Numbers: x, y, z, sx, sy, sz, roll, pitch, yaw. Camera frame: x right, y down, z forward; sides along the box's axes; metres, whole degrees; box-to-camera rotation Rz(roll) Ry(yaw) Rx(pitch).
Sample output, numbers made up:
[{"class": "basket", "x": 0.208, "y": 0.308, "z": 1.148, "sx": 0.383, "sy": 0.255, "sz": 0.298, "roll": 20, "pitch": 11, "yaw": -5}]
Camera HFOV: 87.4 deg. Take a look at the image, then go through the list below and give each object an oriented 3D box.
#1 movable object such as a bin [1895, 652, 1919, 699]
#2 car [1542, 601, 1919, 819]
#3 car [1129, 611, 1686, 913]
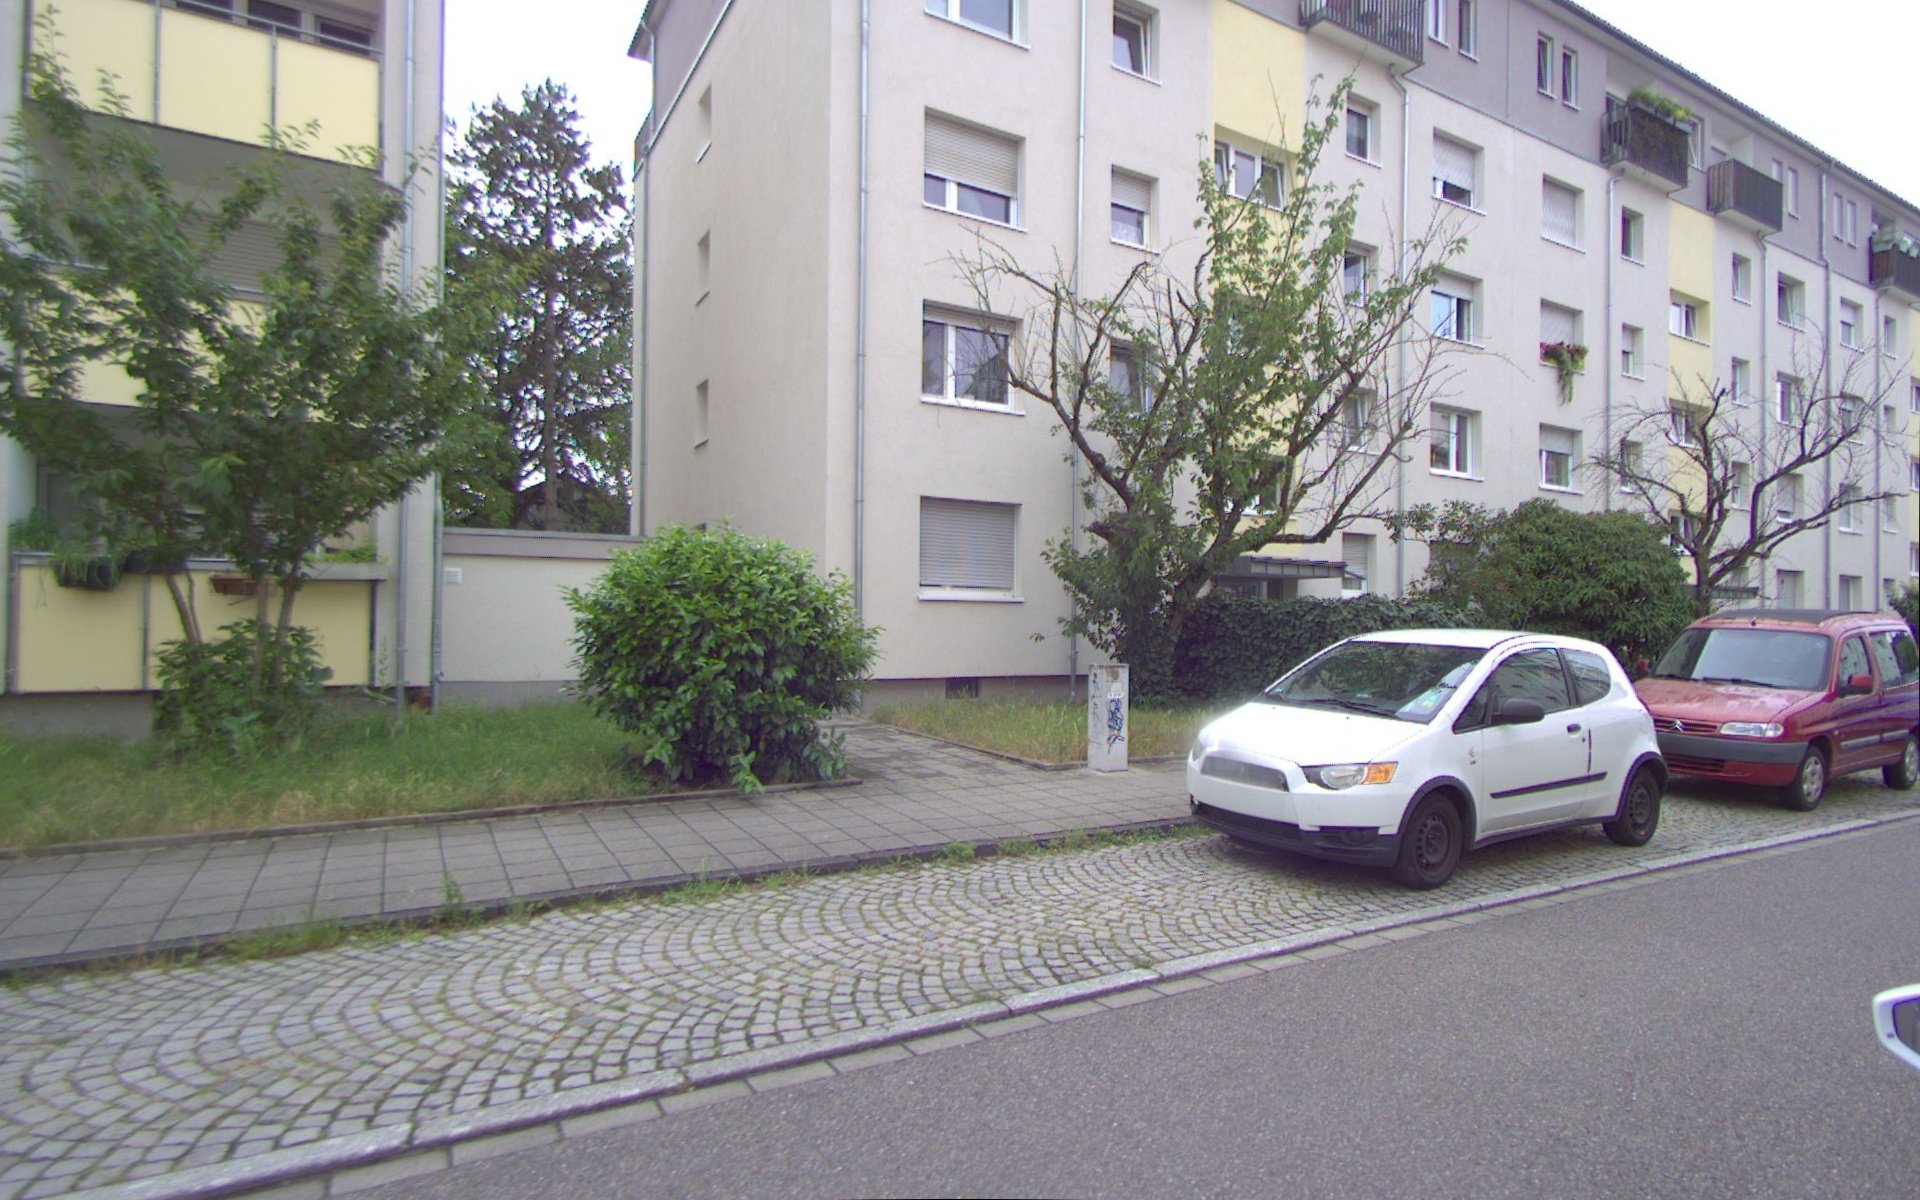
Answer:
[{"class": "movable object such as a bin", "x": 19.938, "y": 1.562, "z": 20.900, "sx": 0.628, "sy": 0.967, "sz": 0.548, "roll": 1, "pitch": -2, "yaw": -30}, {"class": "car", "x": 8.117, "y": 0.956, "z": 10.314, "sx": 4.314, "sy": 1.794, "sz": 1.945, "roll": 1, "pitch": 0, "yaw": -33}, {"class": "car", "x": 3.261, "y": 0.933, "z": 7.182, "sx": 3.825, "sy": 1.591, "sz": 1.712, "roll": 1, "pitch": 1, "yaw": -30}]
